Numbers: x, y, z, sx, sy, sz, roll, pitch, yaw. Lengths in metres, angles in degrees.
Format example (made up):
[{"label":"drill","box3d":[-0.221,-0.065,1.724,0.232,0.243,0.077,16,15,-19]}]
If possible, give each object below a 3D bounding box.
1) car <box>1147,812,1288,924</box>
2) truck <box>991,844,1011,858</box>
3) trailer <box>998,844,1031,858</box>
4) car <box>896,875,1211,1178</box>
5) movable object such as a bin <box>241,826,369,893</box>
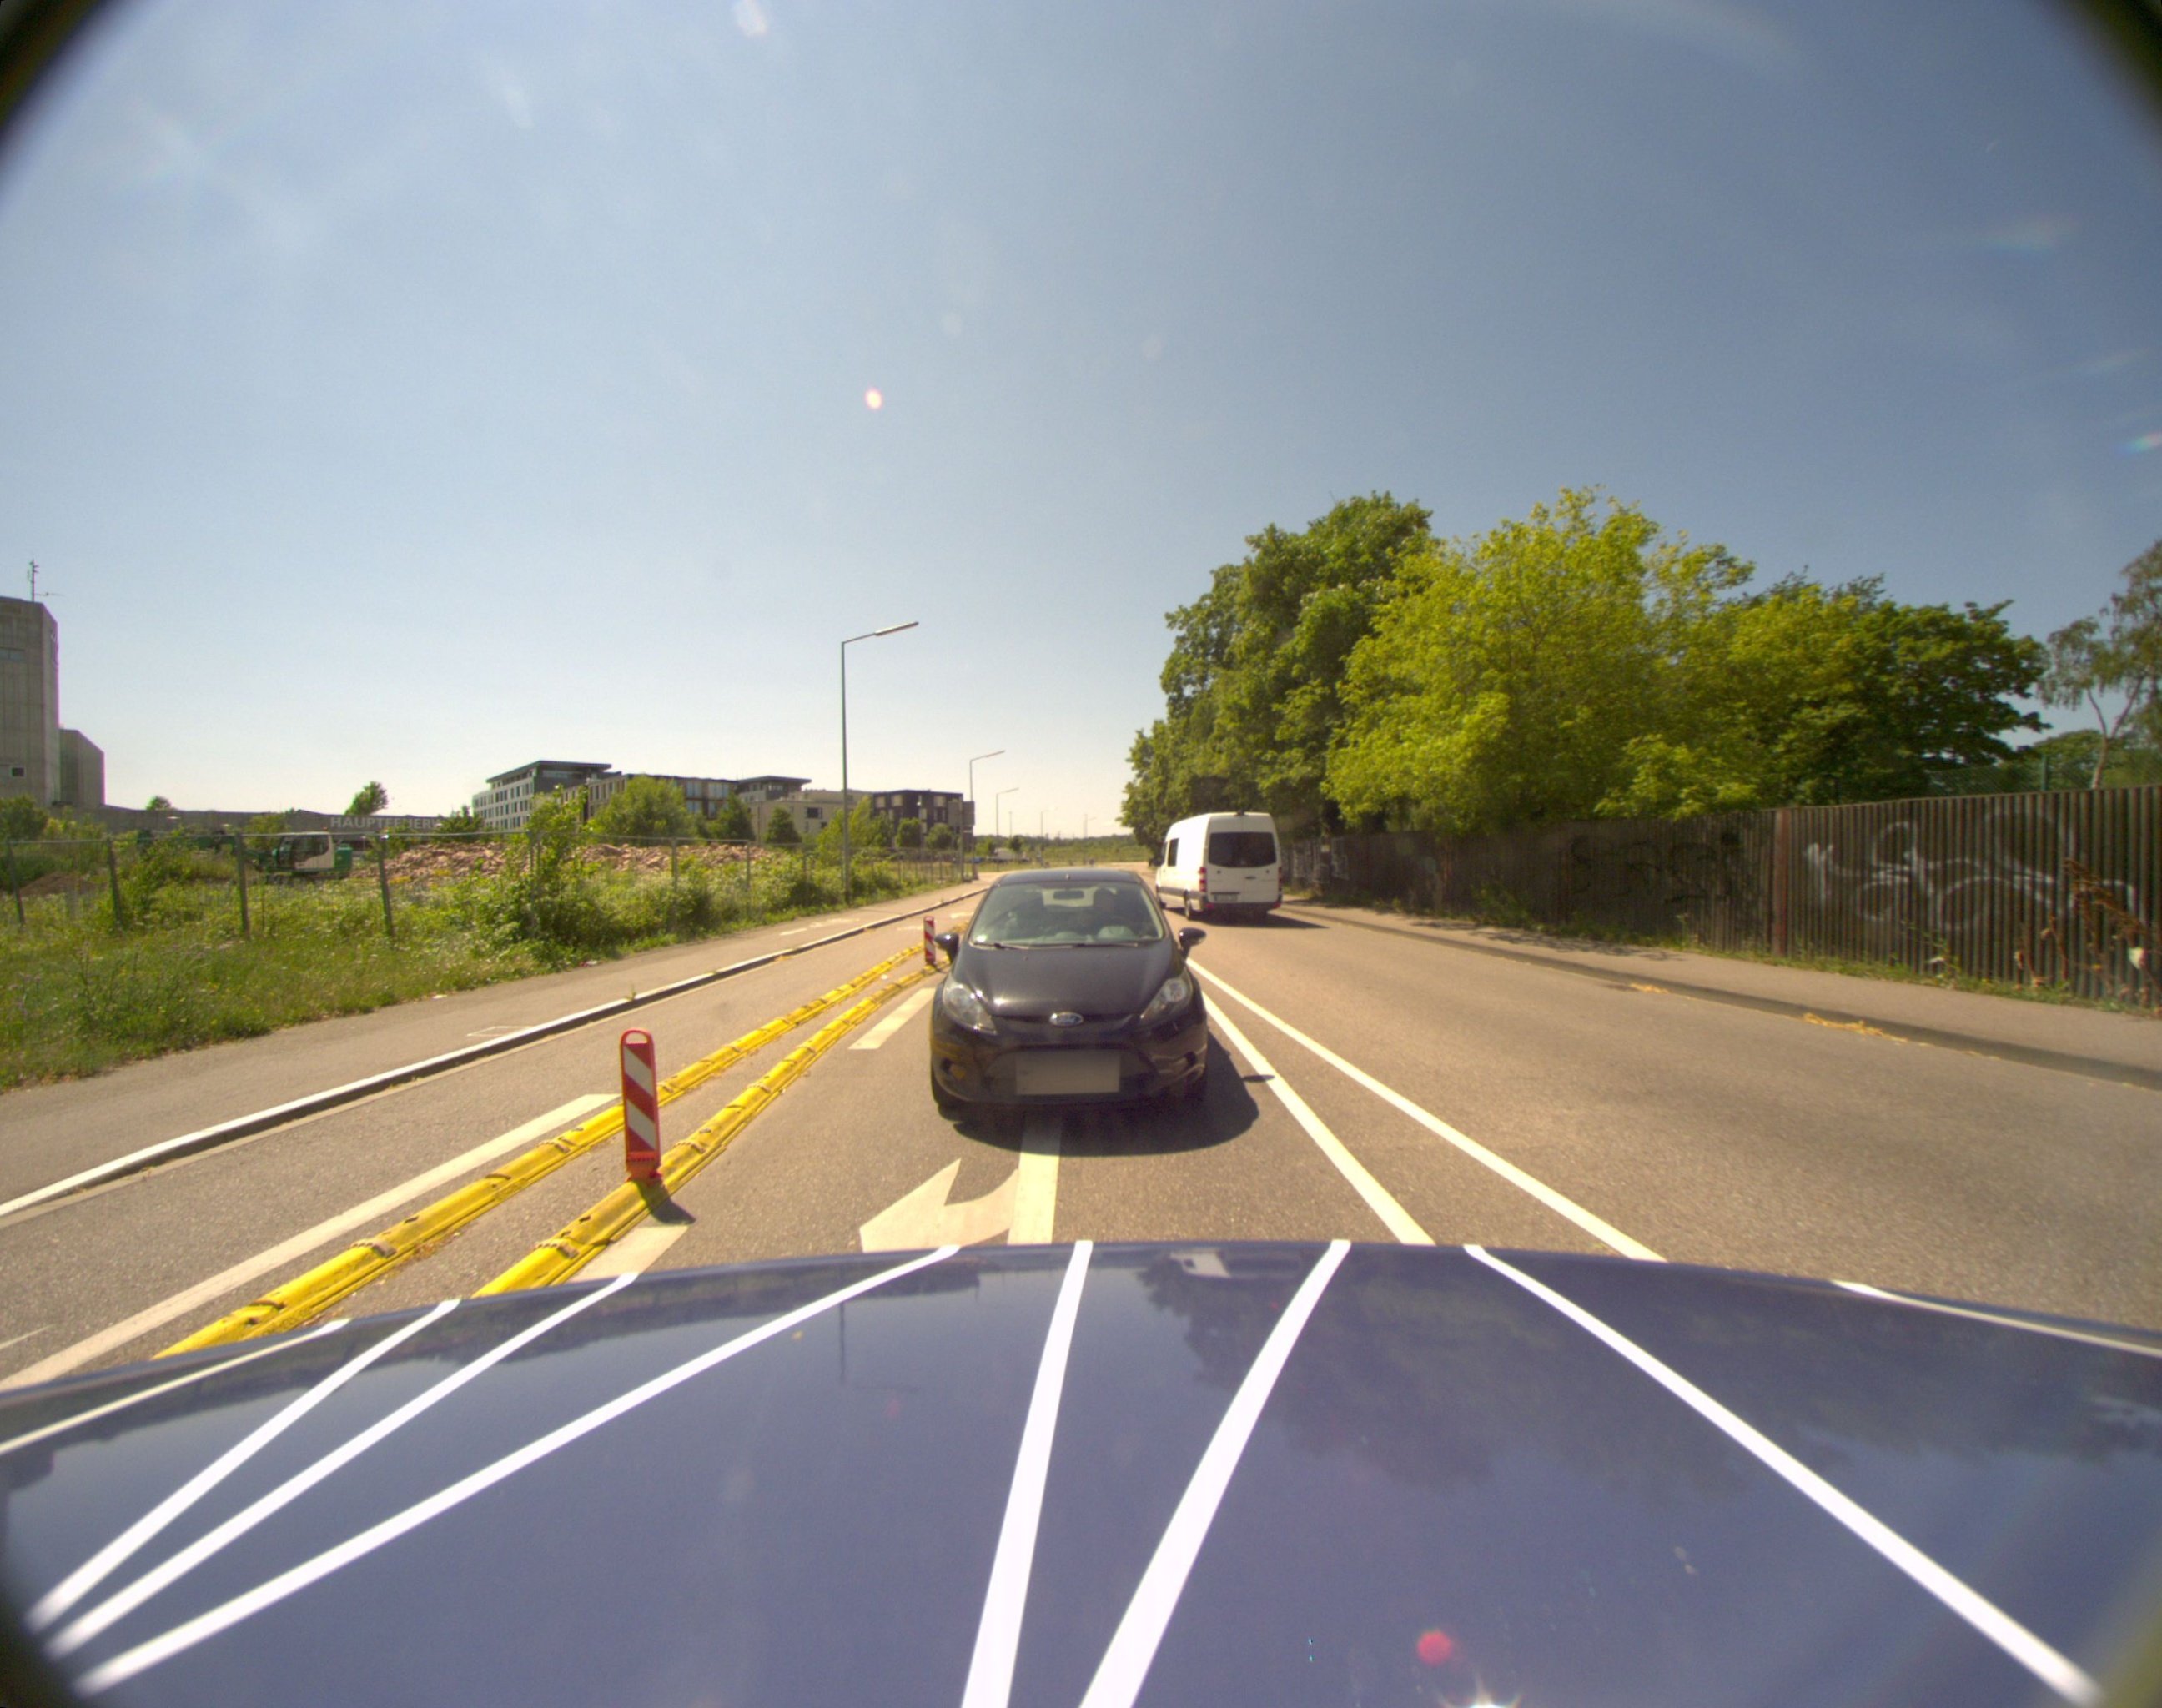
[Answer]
[{"label":"car","box3d":[3.387,0.294,20.550,2.026,2.524,6.824,0,0,-5]},{"label":"truck","box3d":[-17.962,-0.678,170.961,4.008,3.316,1.994,-1,1,-45]},{"label":"trailer","box3d":[-15.206,-0.681,173.702,8.194,3.329,1.994,-1,0,-45]},{"label":"car","box3d":[-0.122,0.954,5.958,1.602,1.422,4.000,-2,0,1]},{"label":"movable object such as a bin","box3d":[-37.658,0.228,37.033,2.204,3.045,3.690,-2,1,6]}]
